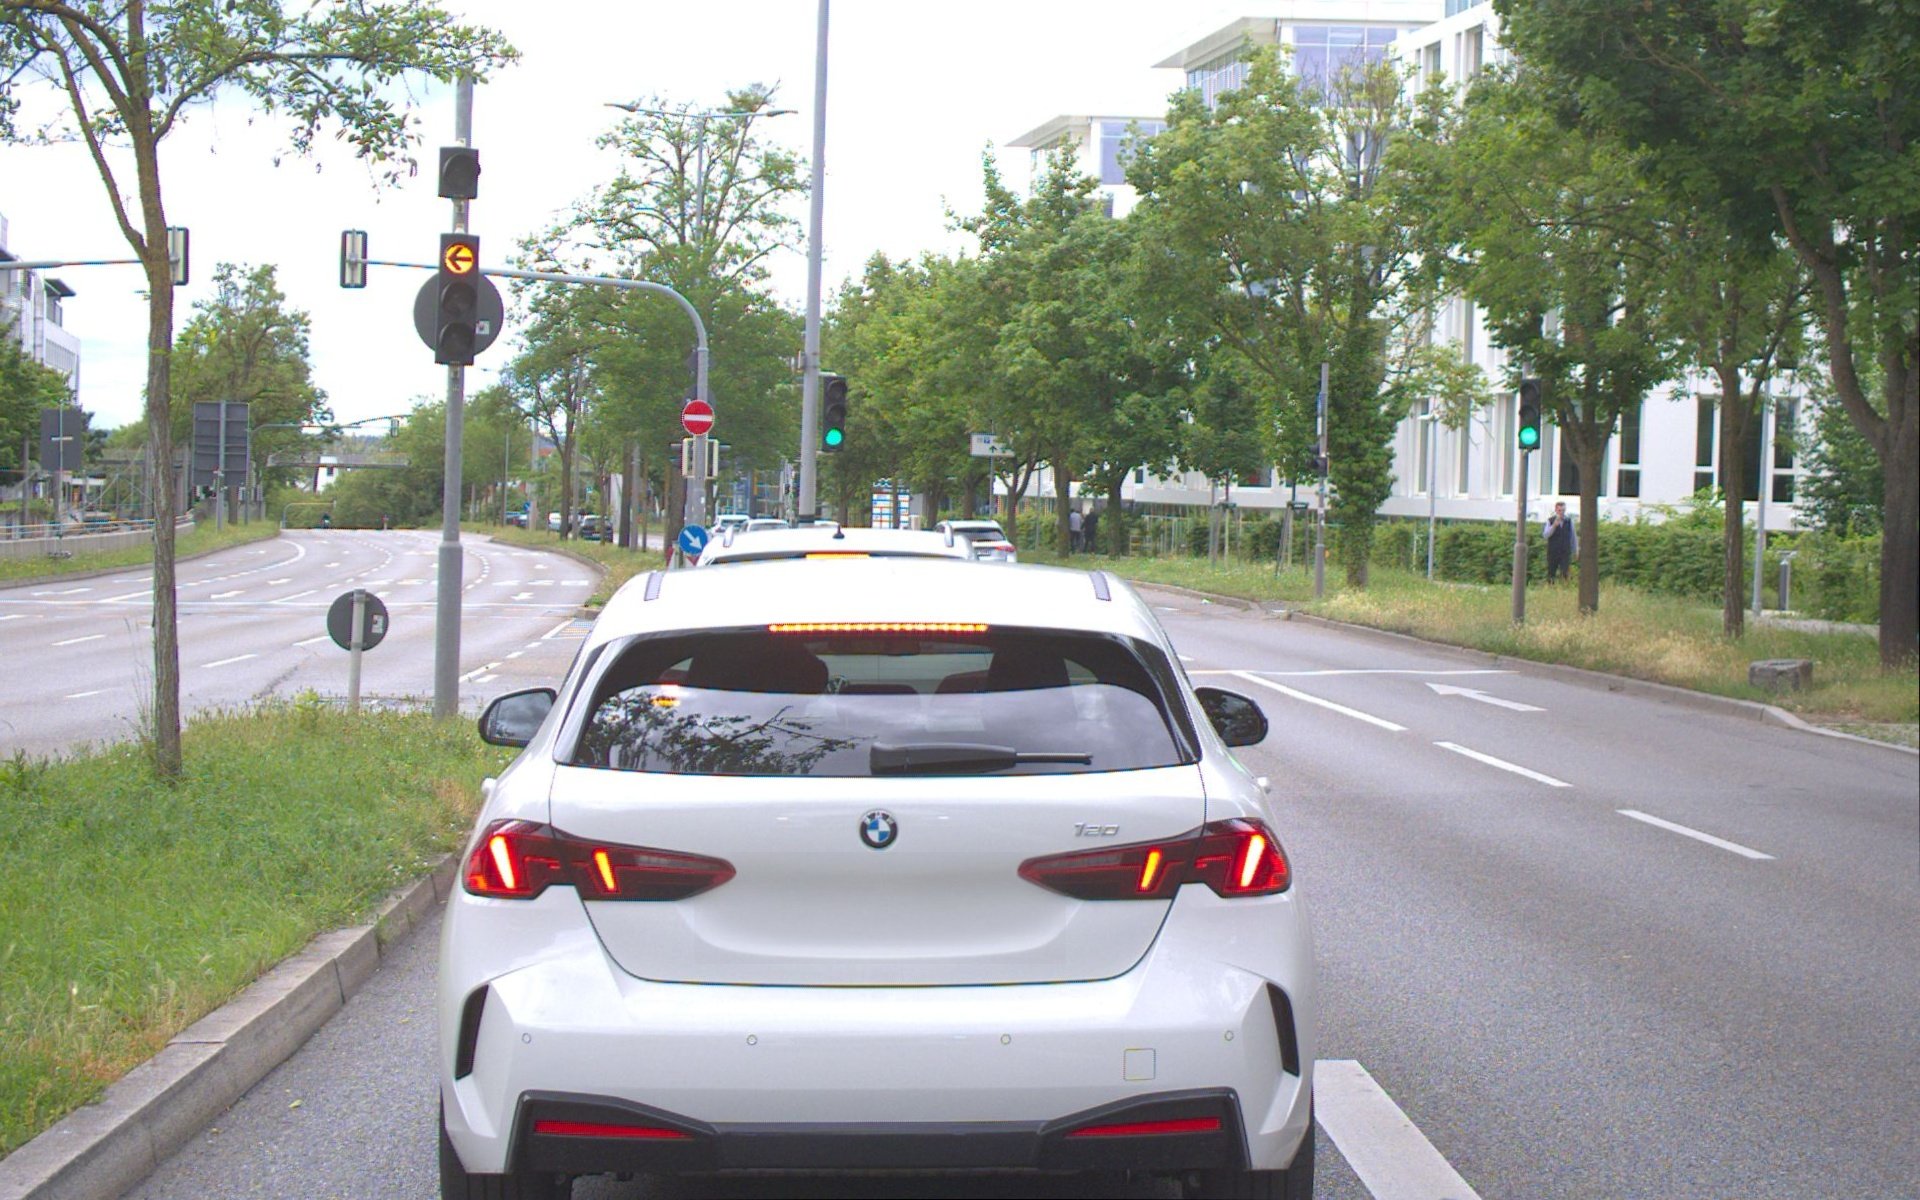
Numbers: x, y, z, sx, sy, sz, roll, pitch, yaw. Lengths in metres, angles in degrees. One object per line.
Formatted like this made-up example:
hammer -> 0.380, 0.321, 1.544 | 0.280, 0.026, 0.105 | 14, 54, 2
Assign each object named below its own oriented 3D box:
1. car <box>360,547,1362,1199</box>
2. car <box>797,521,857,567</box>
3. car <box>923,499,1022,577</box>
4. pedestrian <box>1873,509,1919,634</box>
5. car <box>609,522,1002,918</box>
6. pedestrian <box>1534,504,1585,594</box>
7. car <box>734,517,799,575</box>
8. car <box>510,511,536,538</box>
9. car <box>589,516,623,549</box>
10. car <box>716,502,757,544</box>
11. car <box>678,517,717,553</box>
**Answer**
car -> -0.208, 0.616, 8.341 | 1.822, 1.433, 4.000 | 1, 1, -1
car -> -4.433, -1.859, 114.074 | 1.692, 1.481, 3.694 | 1, 1, -7
car -> 0.256, -1.378, 76.487 | 1.993, 1.664, 4.001 | 0, 1, -3
pedestrian -> 11.227, -0.328, 40.132 | 0.789, 1.443, 1.112 | 1, 0, -1
car -> -0.645, 0.446, 15.859 | 1.549, 1.563, 4.000 | 1, 1, -1
pedestrian -> 10.545, -0.895, 60.480 | 0.741, 1.568, 0.674 | 1, 0, -1
car -> -5.892, -1.653, 104.620 | 1.695, 1.711, 4.001 | 1, 1, -7
car -> -32.448, -5.601, 255.526 | 1.837, 2.007, 4.001 | 1, 1, -6
car -> -18.259, -3.476, 177.307 | 1.601, 1.661, 4.001 | 1, 1, -4
car -> -9.093, -3.120, 139.532 | 1.601, 1.661, 4.001 | 1, 1, -4
car -> -12.214, -3.031, 160.207 | 1.738, 1.661, 4.001 | 1, 1, -4
